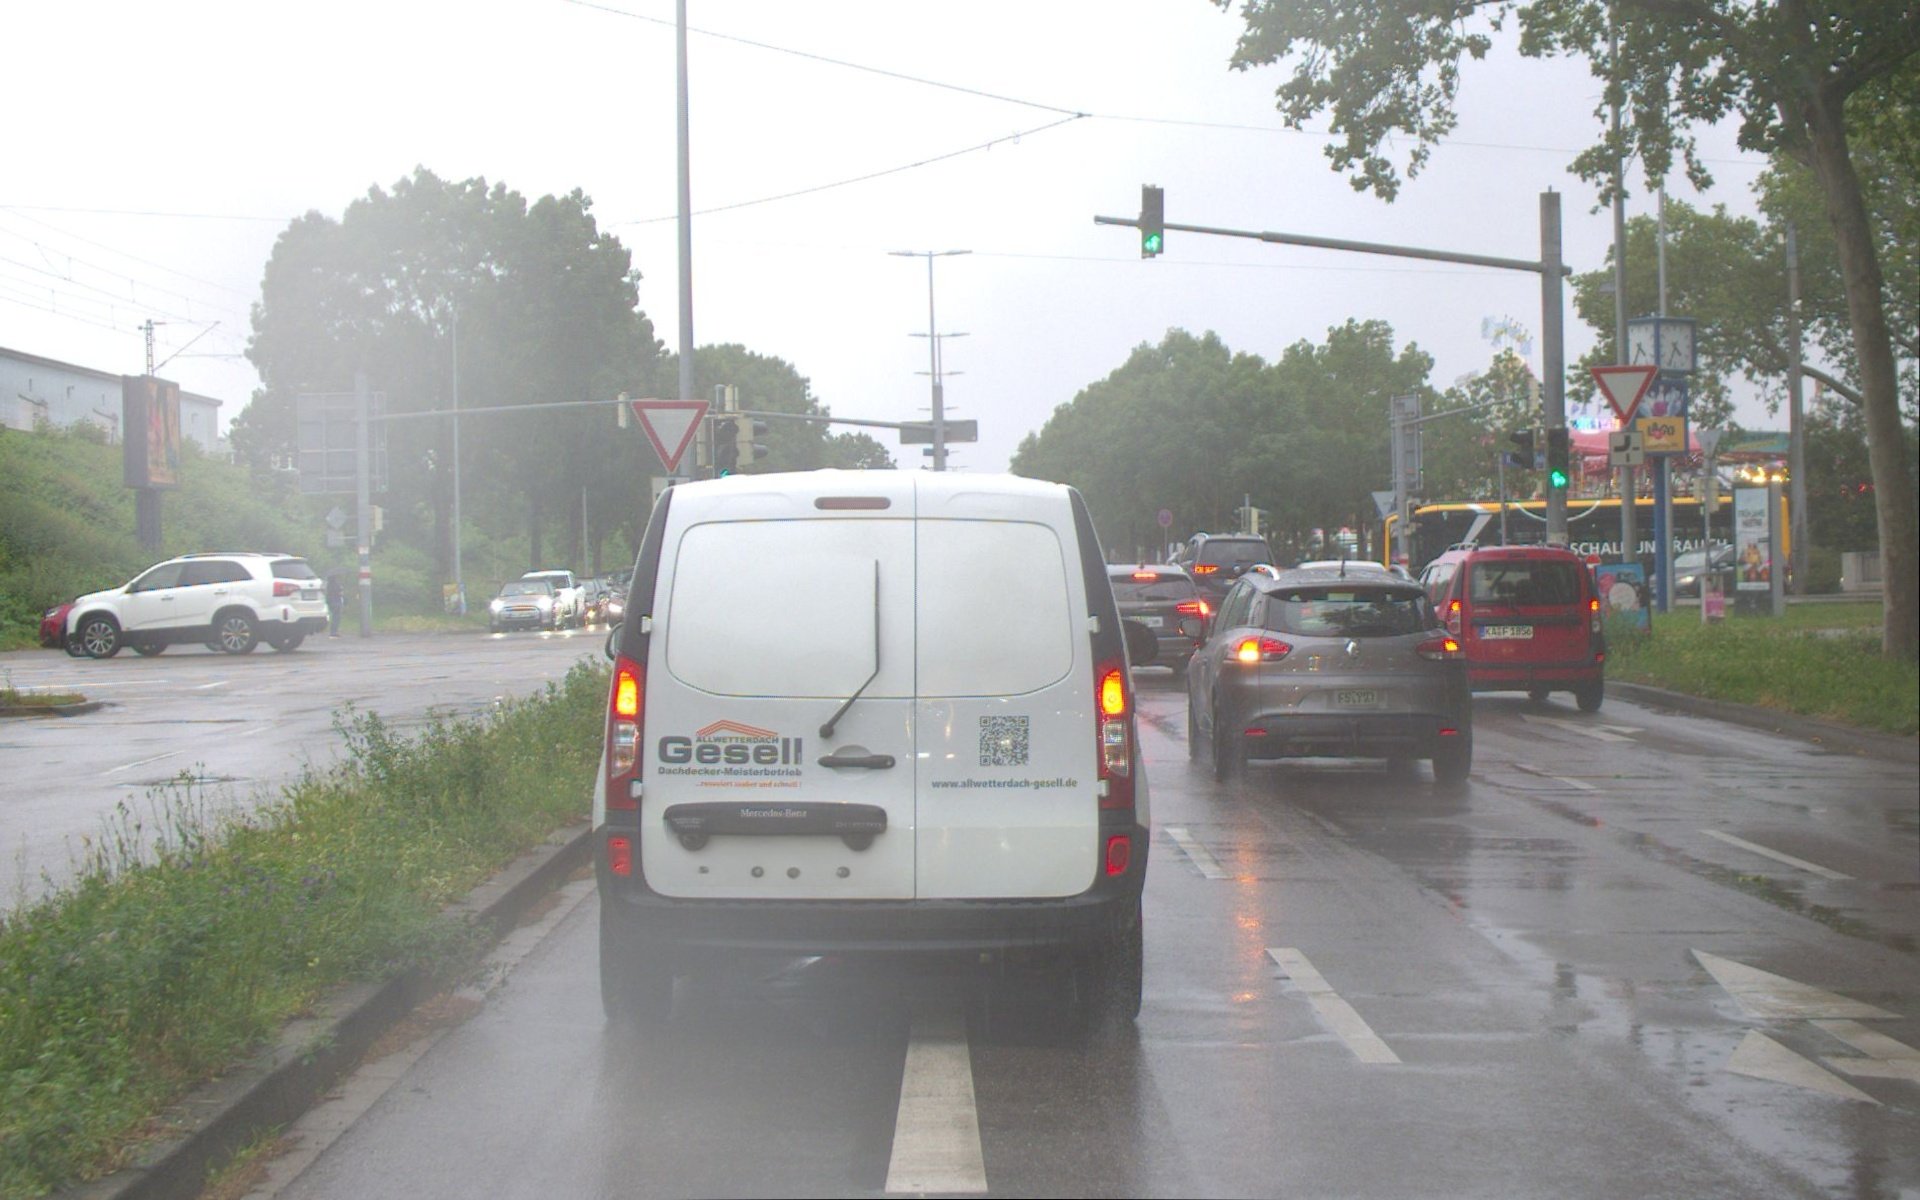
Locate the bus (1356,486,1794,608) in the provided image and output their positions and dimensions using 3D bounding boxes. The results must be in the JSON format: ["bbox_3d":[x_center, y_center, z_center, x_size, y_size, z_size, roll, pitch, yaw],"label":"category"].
[{"bbox_3d":[18.030,-1.561,101.416,12.249,3.257,3.275,-1,1,0],"label":"bus"}]

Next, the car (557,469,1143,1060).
[{"bbox_3d":[-0.348,0.472,12.348,1.756,1.771,4.000,0,1,0],"label":"car"}]

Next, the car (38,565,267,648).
[{"bbox_3d":[-15.502,0.110,66.138,3.987,1.497,1.772,-1,1,-1],"label":"car"}]

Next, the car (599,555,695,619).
[{"bbox_3d":[-8.504,-0.373,93.829,2.022,1.651,4.061,-1,1,3],"label":"car"}]

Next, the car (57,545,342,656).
[{"bbox_3d":[-13.276,0.004,60.062,4.430,1.839,1.998,-1,1,19],"label":"car"}]

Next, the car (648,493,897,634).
[{"bbox_3d":[-2.879,-0.558,51.612,1.993,1.949,4.821,-2,2,-25],"label":"car"}]

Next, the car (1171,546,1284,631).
[{"bbox_3d":[5.177,-0.254,66.940,1.993,1.568,4.000,-1,1,2],"label":"car"}]

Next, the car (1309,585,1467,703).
[{"bbox_3d":[6.195,0.607,50.087,1.842,1.612,4.000,0,1,1],"label":"car"}]

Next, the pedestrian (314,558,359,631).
[{"bbox_3d":[-14.794,-0.138,81.574,1.001,1.713,0.820,-1,1,-8],"label":"pedestrian"}]

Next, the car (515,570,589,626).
[{"bbox_3d":[-11.643,-0.077,98.248,1.827,1.477,4.001,-1,1,-3],"label":"car"}]

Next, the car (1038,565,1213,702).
[{"bbox_3d":[2.071,0.391,44.129,1.835,1.650,4.001,1,1,-3],"label":"car"}]

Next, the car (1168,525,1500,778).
[{"bbox_3d":[2.530,0.315,24.129,1.842,1.612,4.000,0,1,0],"label":"car"}]

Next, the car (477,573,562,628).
[{"bbox_3d":[-11.749,0.000,91.859,1.892,1.344,4.001,-1,1,-2],"label":"car"}]

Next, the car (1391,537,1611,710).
[{"bbox_3d":[5.443,0.202,34.936,1.632,1.650,3.485,1,1,0],"label":"car"}]
